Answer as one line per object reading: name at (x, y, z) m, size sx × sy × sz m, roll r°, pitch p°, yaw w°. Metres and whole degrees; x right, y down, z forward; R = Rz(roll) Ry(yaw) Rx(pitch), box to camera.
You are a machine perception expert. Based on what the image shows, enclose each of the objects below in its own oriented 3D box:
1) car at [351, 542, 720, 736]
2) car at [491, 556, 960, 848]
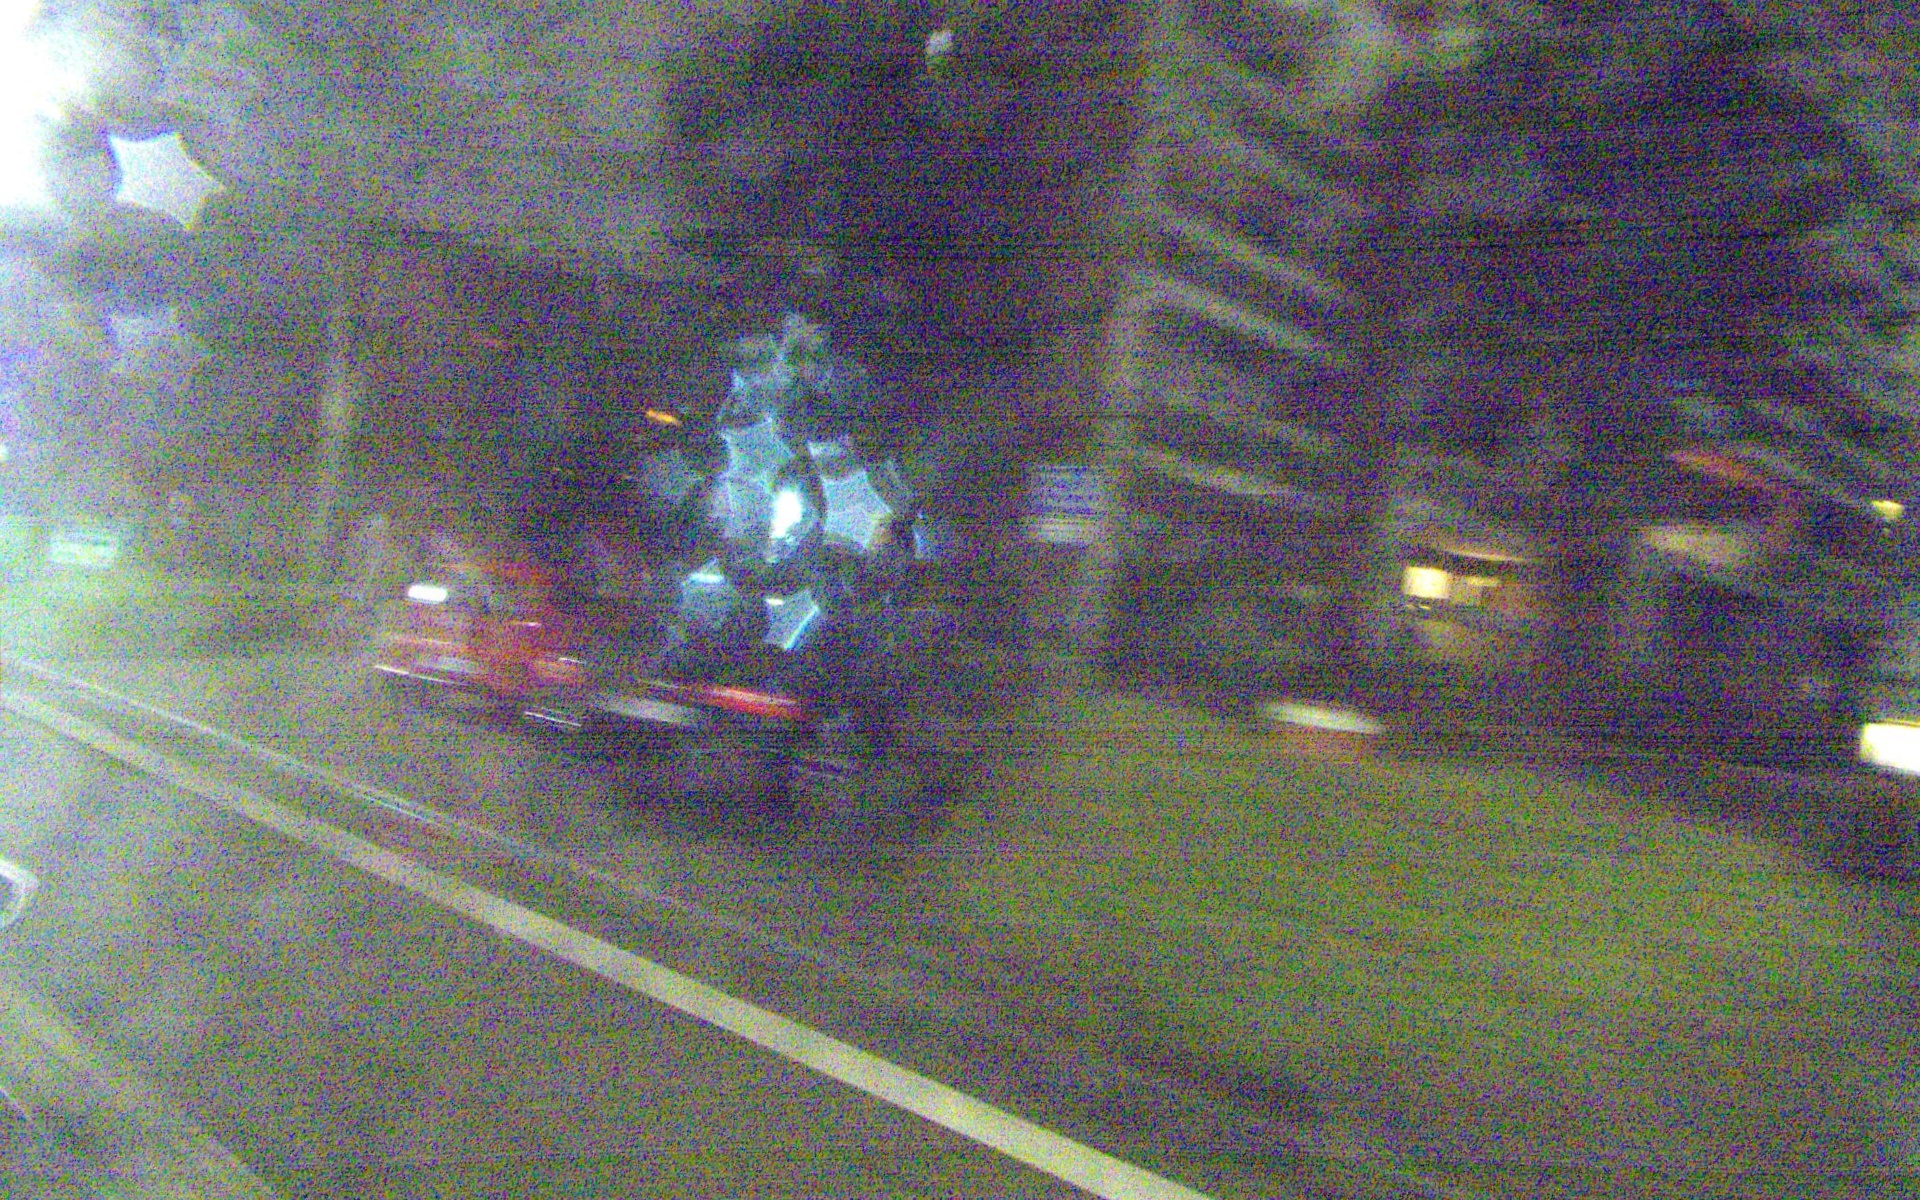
car at (-4.225, 0.400, 10.708) m, size 1.627 × 1.536 × 3.707 m, roll 6°, pitch -1°, yaw 13°
car at (-1.431, 0.659, 8.187) m, size 1.805 × 1.493 × 4.603 m, roll 6°, pitch -1°, yaw 12°
